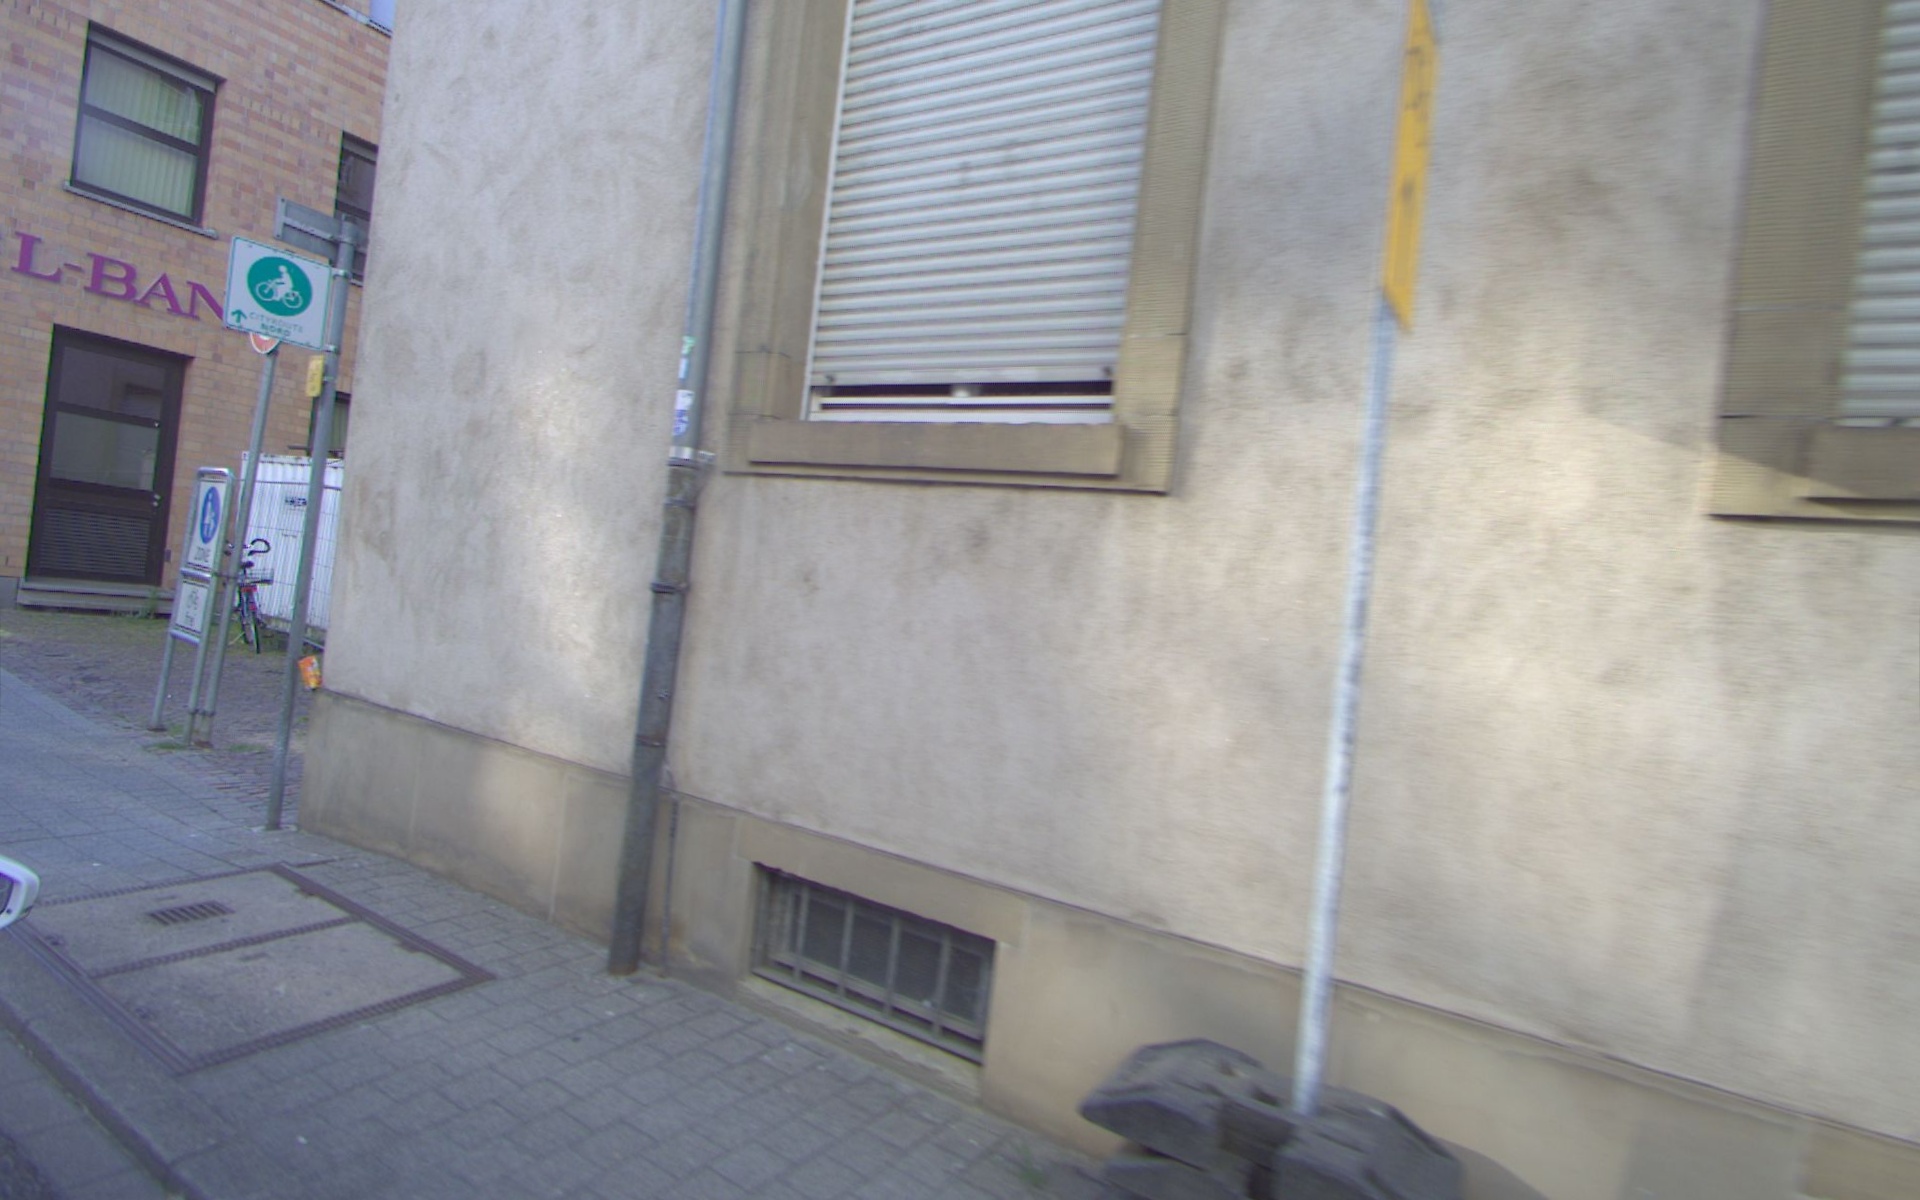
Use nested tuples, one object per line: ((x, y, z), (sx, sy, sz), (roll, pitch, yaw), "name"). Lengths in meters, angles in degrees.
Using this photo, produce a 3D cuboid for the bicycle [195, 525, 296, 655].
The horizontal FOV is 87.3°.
((-8.221, -0.137, 11.544), (1.625, 1.333, 0.549), (7, 1, 43), "bicycle")
